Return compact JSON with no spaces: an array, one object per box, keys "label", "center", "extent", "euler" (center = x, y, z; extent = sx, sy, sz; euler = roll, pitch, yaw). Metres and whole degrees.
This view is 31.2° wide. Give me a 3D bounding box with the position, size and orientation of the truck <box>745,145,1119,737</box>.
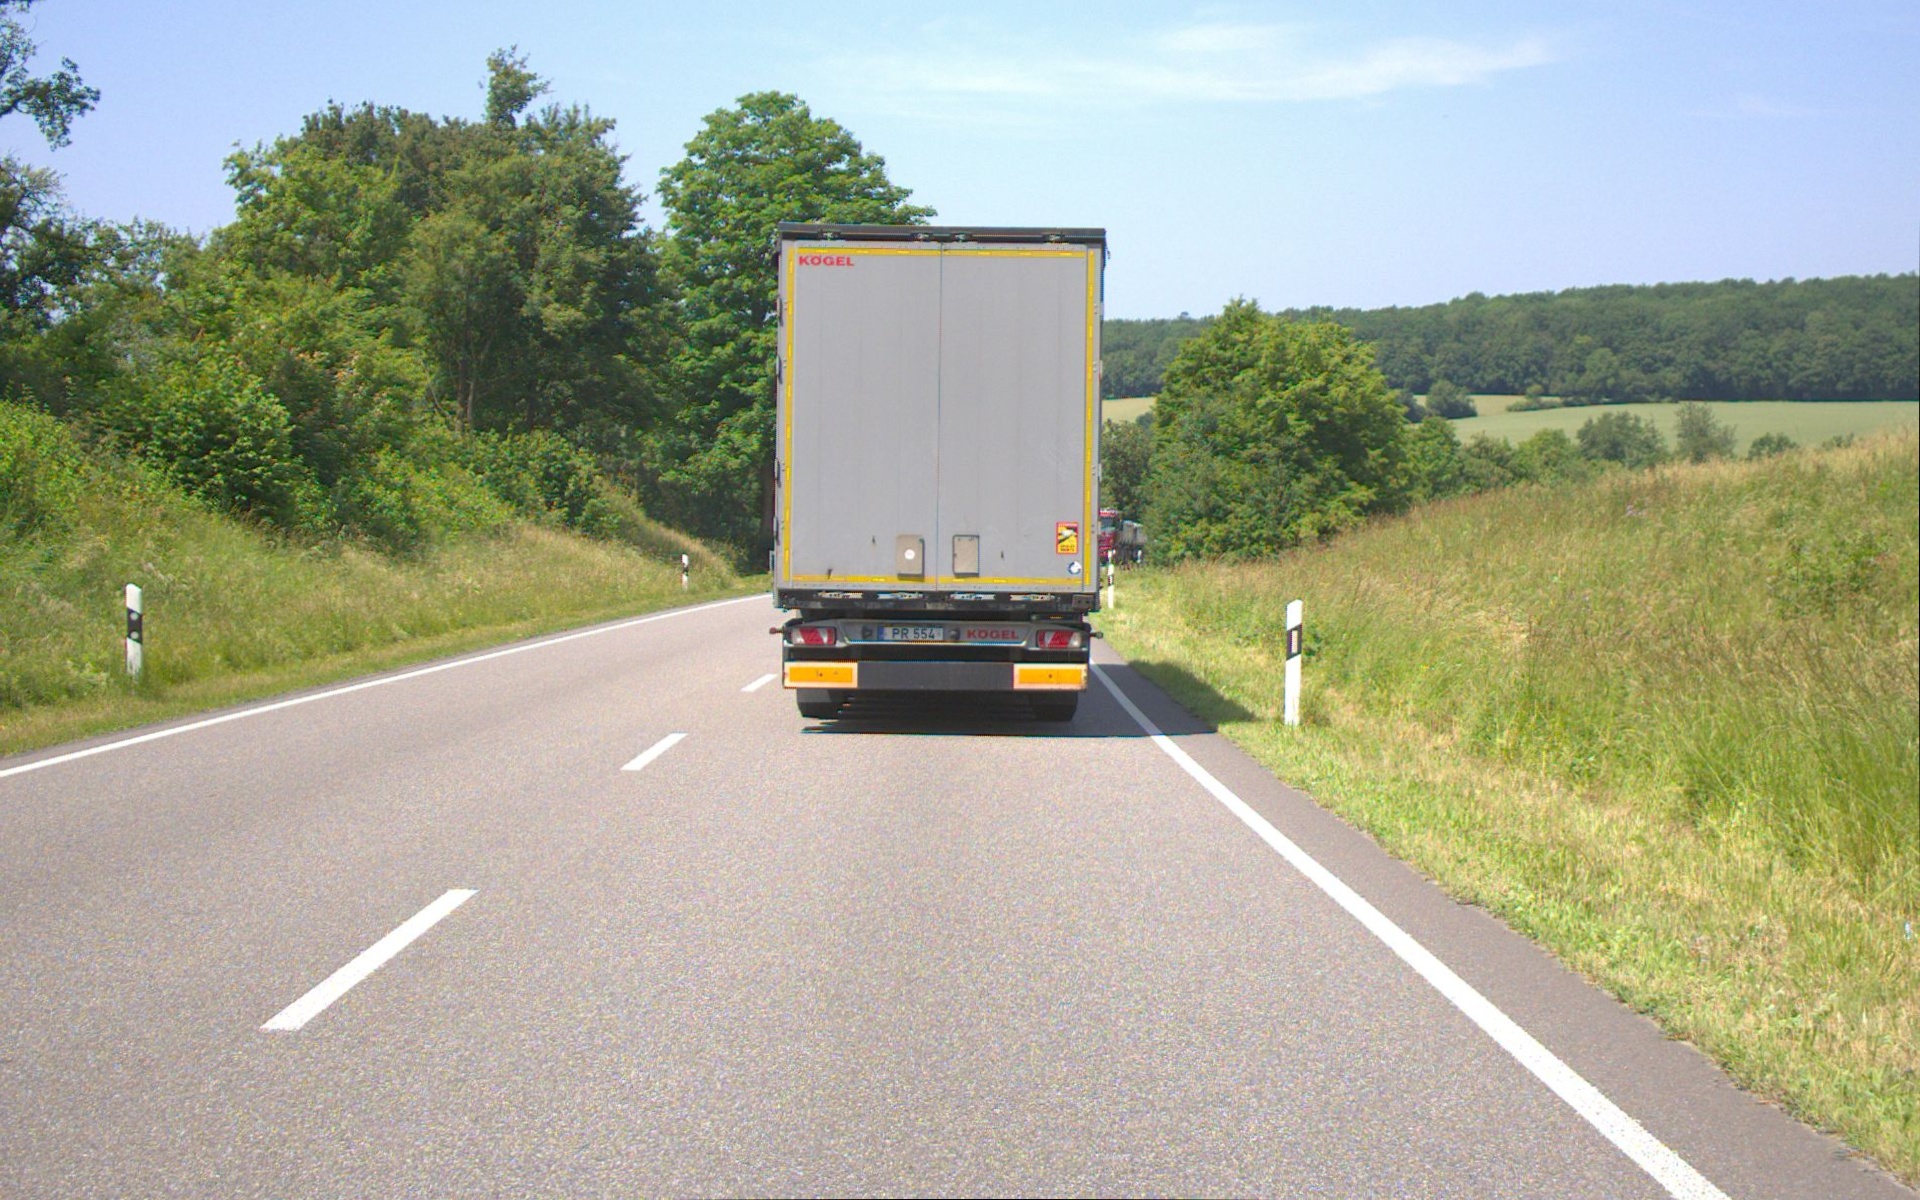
[{"label":"truck","center":[-0.350,-1.341,32.434],"extent":[2.817,4.517,11.769],"euler":[1,1,-1]}]
